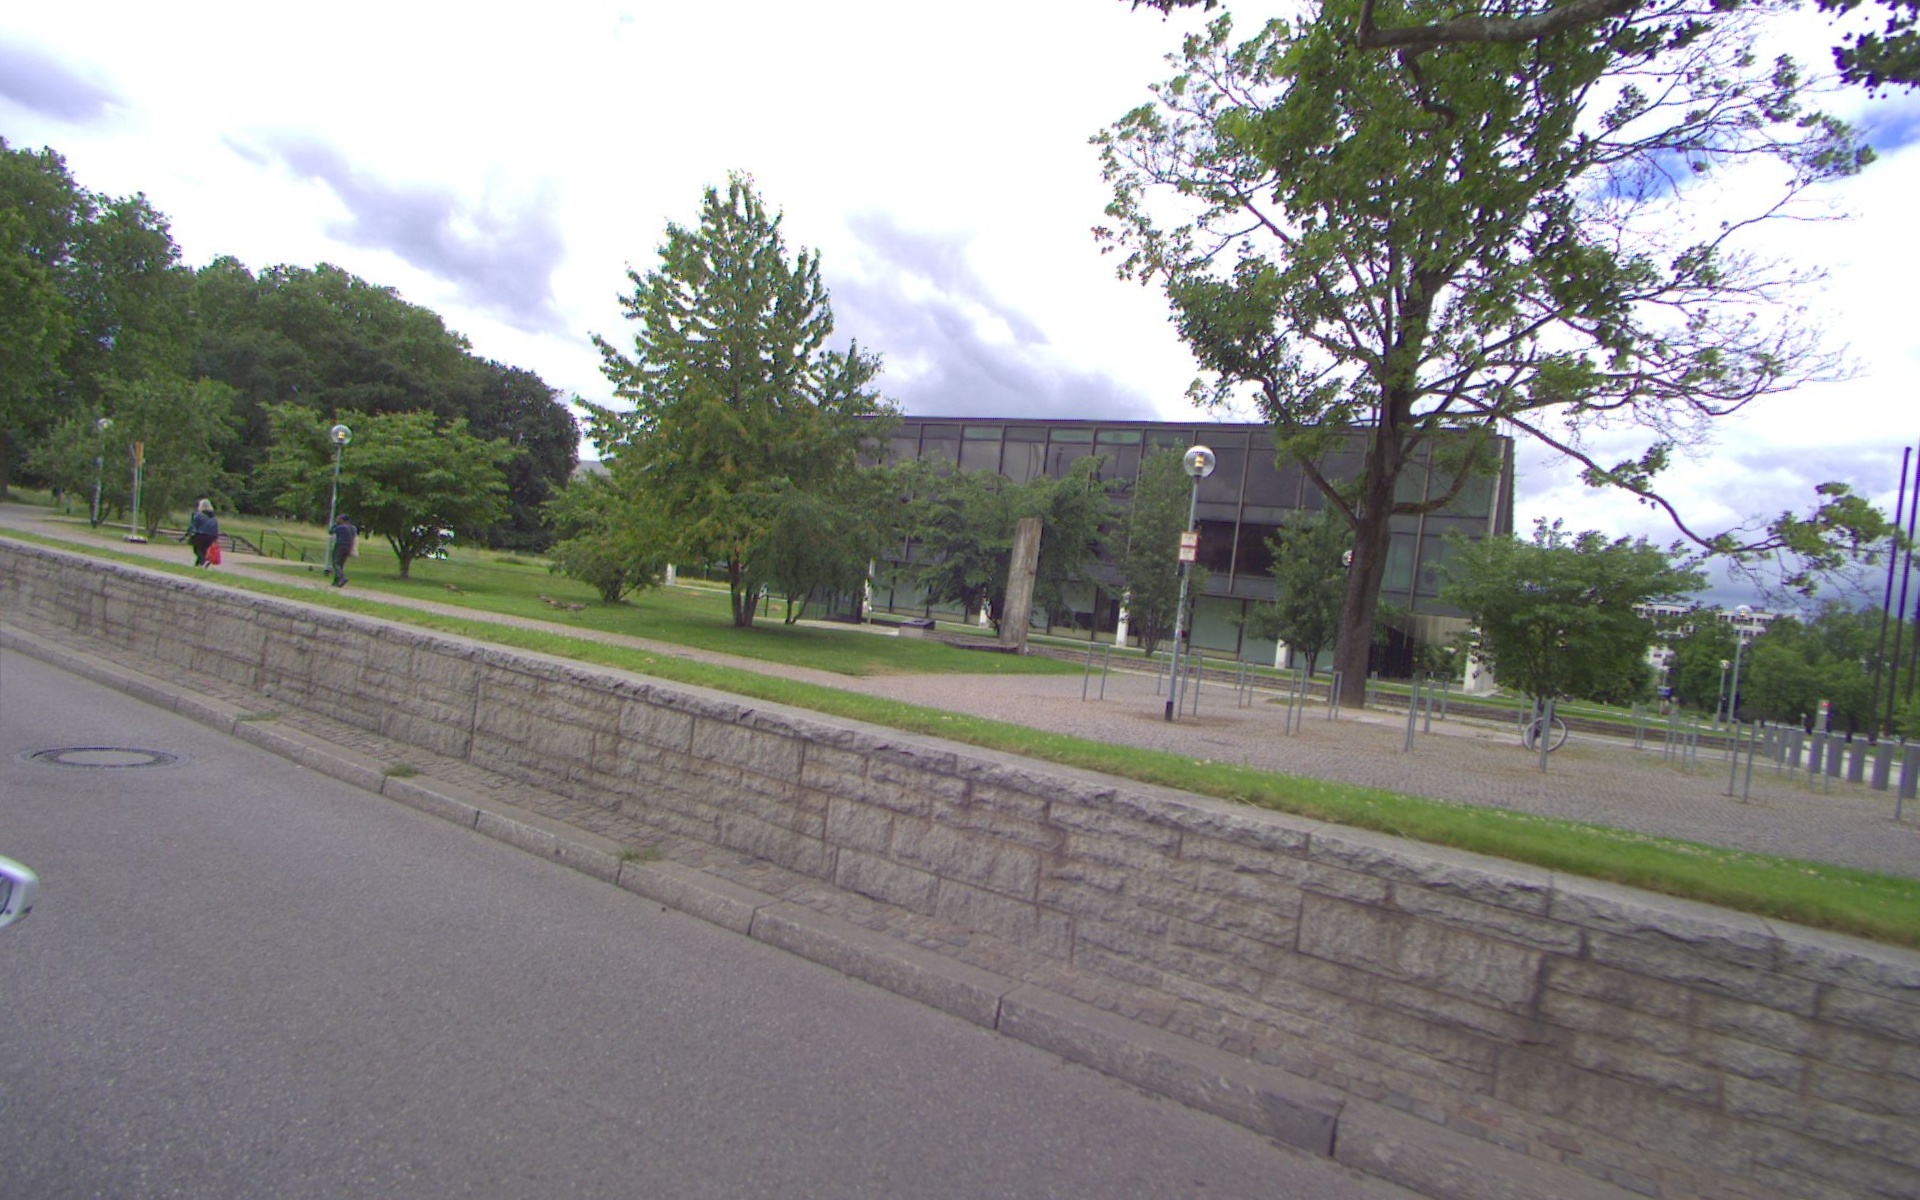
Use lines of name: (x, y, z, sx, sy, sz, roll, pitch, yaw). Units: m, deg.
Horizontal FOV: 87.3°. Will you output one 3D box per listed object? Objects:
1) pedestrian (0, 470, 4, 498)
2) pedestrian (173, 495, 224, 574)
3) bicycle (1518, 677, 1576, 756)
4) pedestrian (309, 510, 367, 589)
pedestrian: (-53.717, -6.323, 55.596, 1.015, 1.857, 0.997, 6, -3, 39)
pedestrian: (-16.419, -1.420, 21.679, 0.680, 1.581, 0.897, 6, 1, -42)
bicycle: (9.902, 1.926, 16.989, 0.674, 1.155, 2.195, 7, 0, 31)
pedestrian: (-13.998, -1.124, 22.650, 0.617, 1.646, 0.801, 8, 1, 38)
